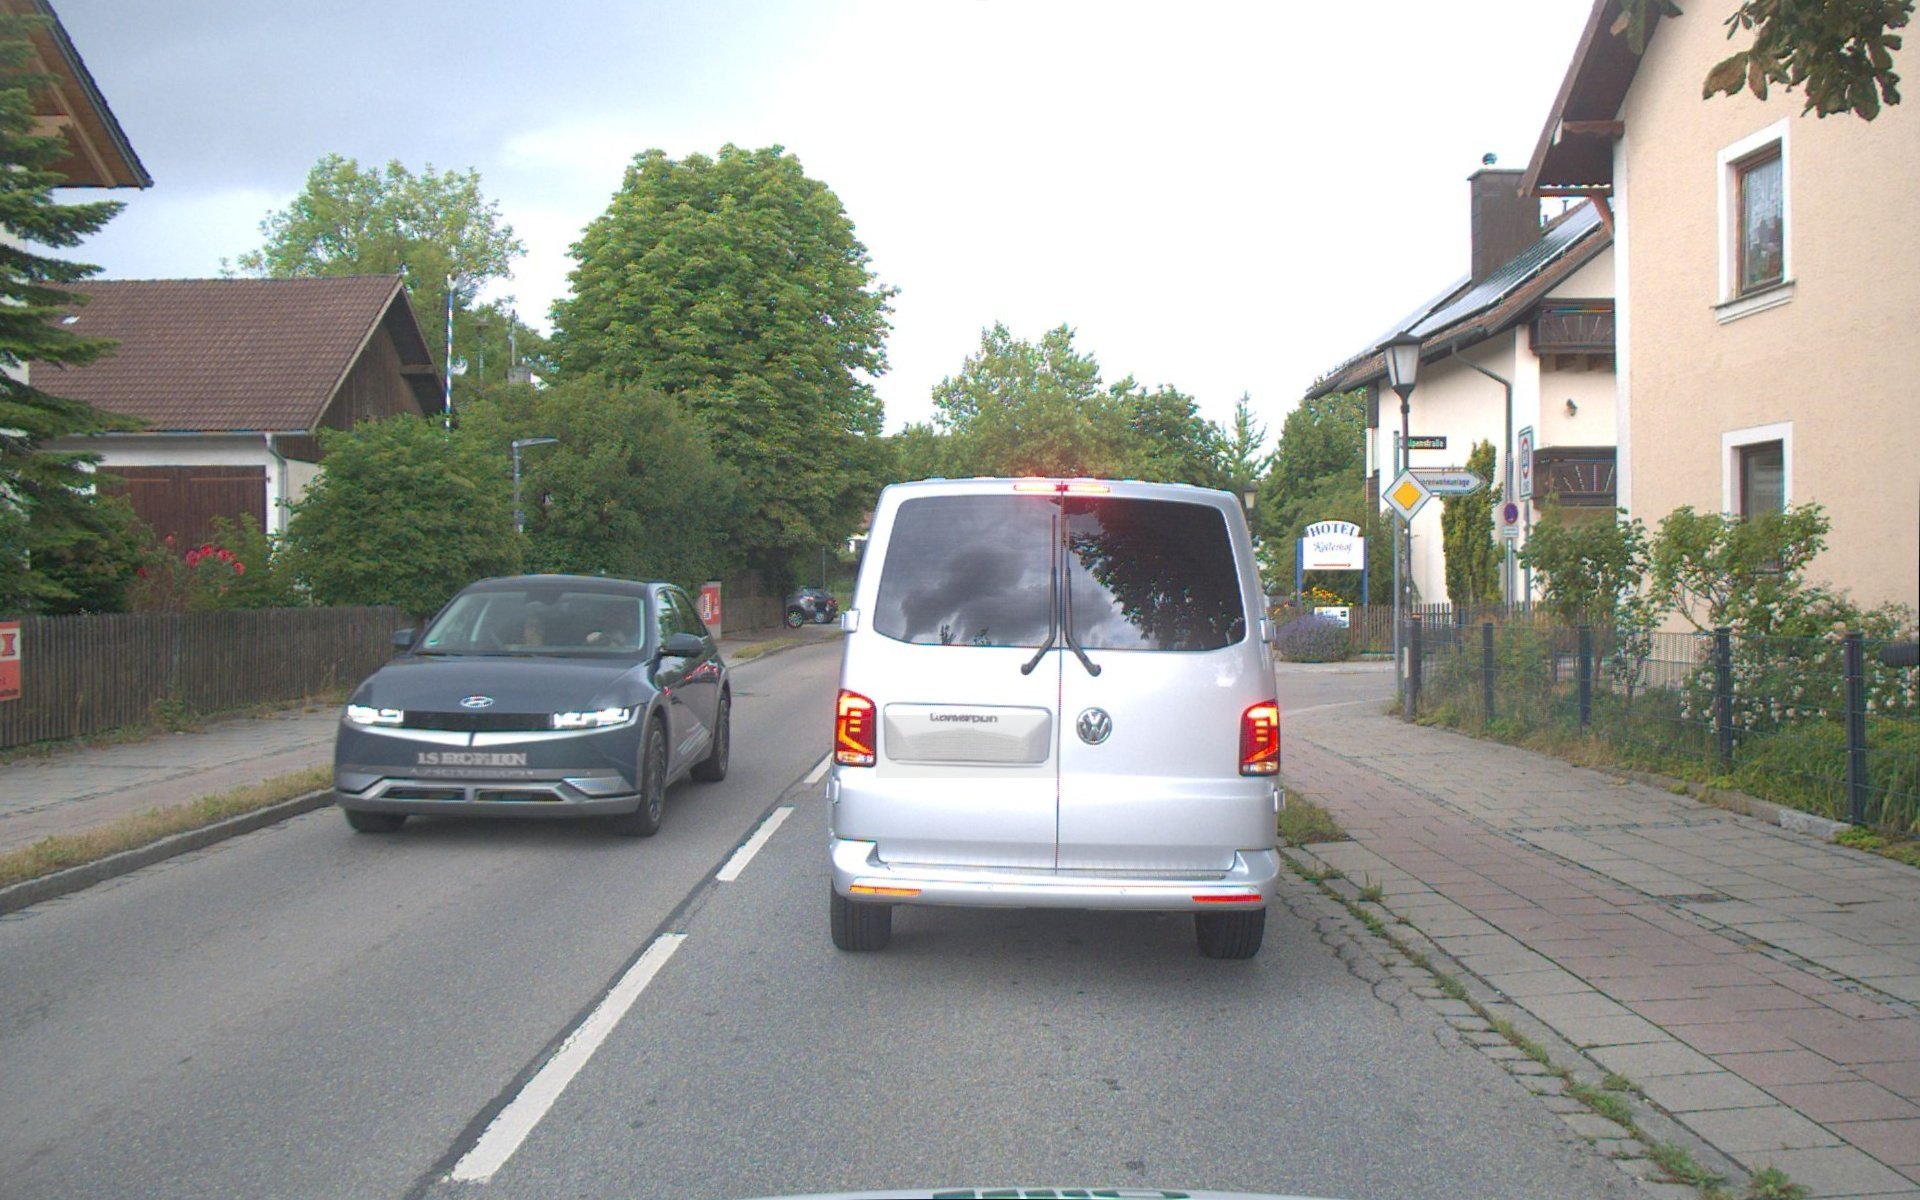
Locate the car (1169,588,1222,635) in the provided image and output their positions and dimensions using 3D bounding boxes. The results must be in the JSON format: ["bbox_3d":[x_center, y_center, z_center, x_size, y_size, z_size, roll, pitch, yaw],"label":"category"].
[{"bbox_3d":[9.403,0.434,65.806,1.841,1.779,4.084,0,0,12],"label":"car"}]

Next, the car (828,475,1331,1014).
[{"bbox_3d":[0.454,0.523,8.039,1.842,1.974,3.921,0,0,0],"label":"car"}]

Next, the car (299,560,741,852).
[{"bbox_3d":[-2.750,0.590,11.434,1.891,1.602,4.311,1,0,0],"label":"car"}]

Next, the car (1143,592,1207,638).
[{"bbox_3d":[7.661,0.505,58.737,1.841,1.562,3.924,0,0,13],"label":"car"}]

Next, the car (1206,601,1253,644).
[{"bbox_3d":[12.136,0.996,74.351,1.841,1.857,3.924,0,0,13],"label":"car"}]

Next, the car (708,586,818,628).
[{"bbox_3d":[-7.231,0.252,60.578,3.912,1.512,1.996,0,0,-9],"label":"car"}]

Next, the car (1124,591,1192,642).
[{"bbox_3d":[6.379,0.502,52.883,1.841,1.562,3.924,0,0,11],"label":"car"}]
